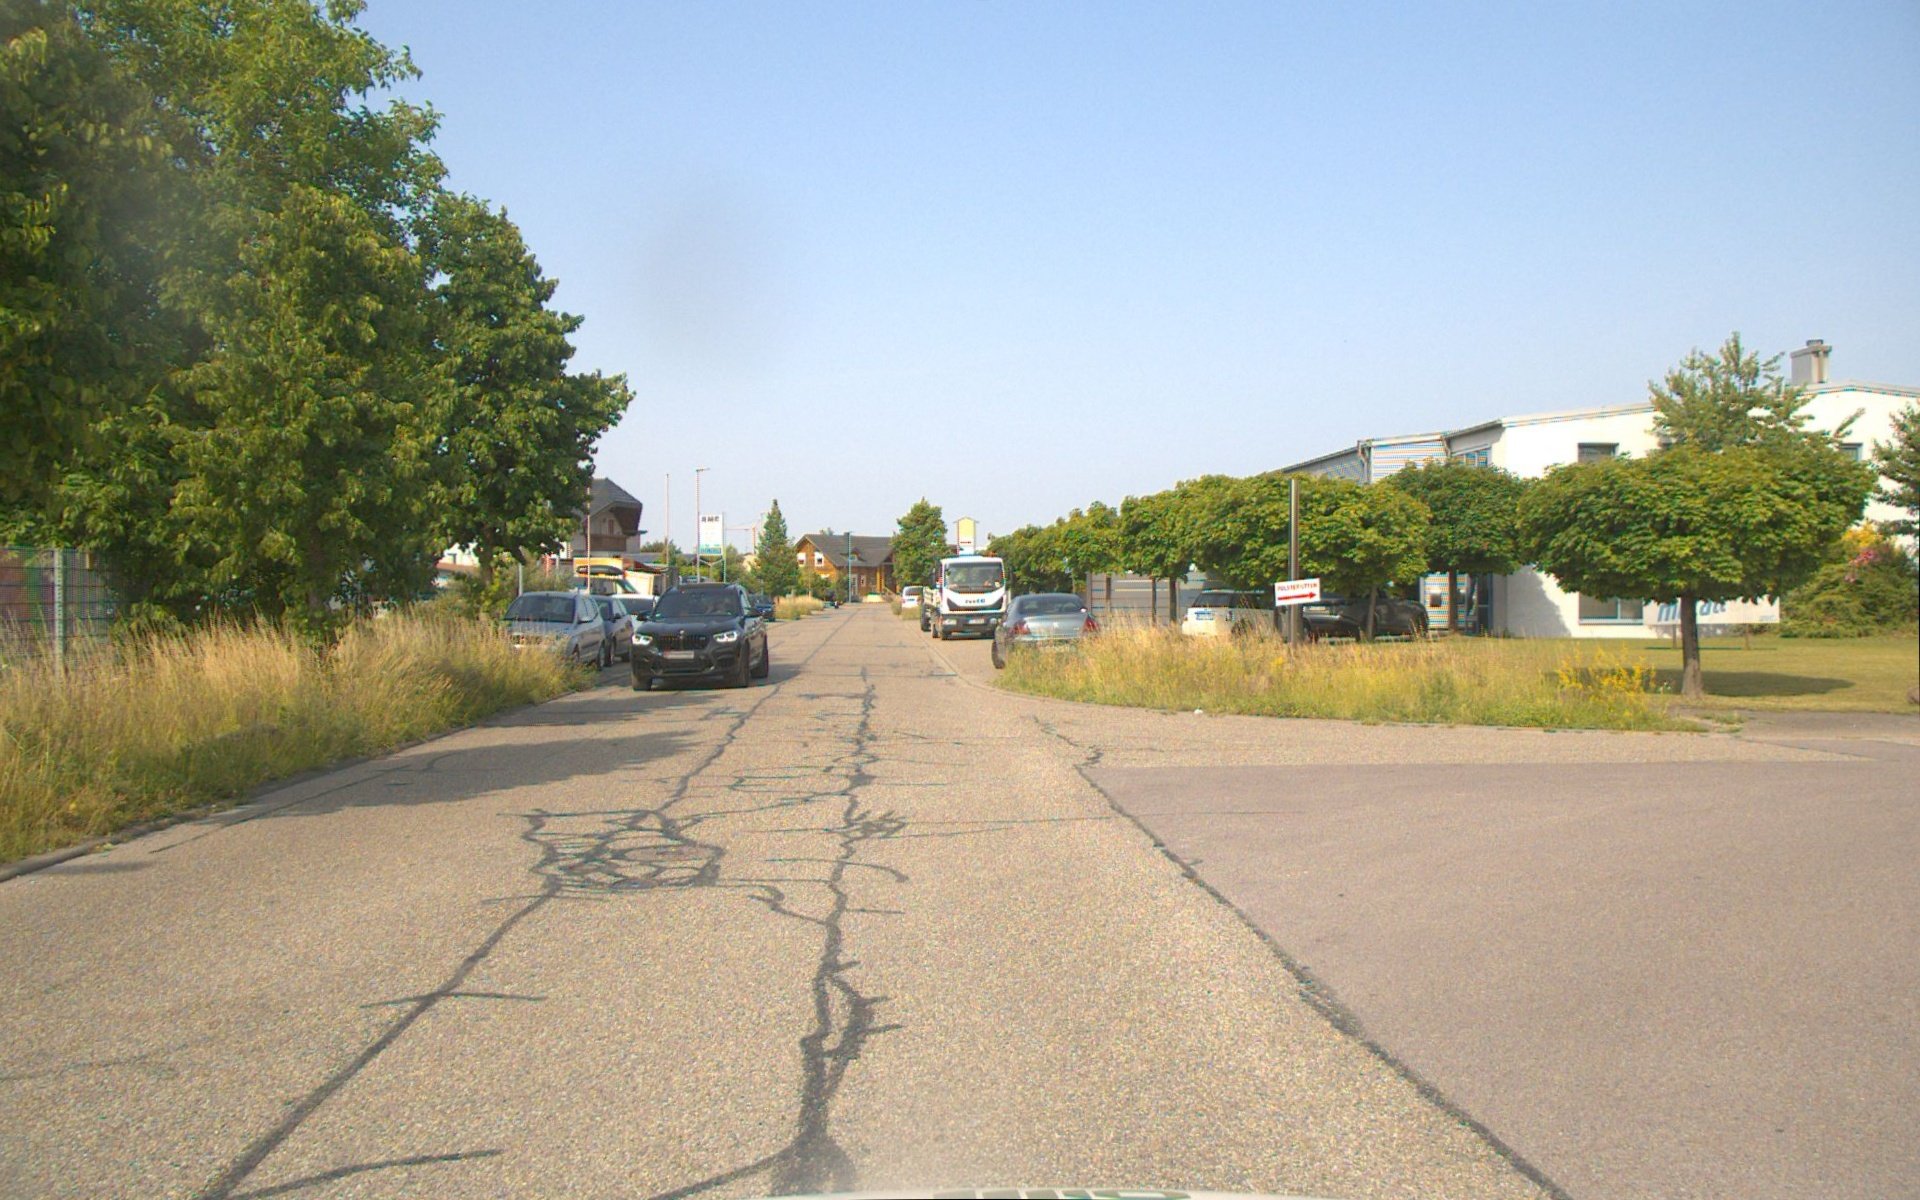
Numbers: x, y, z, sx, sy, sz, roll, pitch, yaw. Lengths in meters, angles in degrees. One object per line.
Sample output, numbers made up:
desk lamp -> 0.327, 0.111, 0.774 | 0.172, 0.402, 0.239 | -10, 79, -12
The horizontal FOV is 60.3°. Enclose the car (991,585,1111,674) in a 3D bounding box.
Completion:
car -> 1.624, 0.497, 31.001 | 1.758, 1.544, 4.421 | 0, 0, -3

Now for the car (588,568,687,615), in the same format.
car -> -18.965, -0.482, 97.430 | 5.048, 2.631, 2.578 | -1, 0, 18

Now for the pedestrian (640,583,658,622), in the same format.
pedestrian -> -13.825, 0.114, 73.467 | 0.558, 1.745, 0.526 | -1, 0, -41

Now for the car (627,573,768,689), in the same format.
car -> -4.351, 0.462, 27.993 | 1.819, 1.744, 4.224 | -2, 1, -2

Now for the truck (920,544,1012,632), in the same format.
truck -> 0.104, -0.395, 54.813 | 2.314, 2.728, 6.502 | 0, 0, -6

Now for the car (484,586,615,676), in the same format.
car -> -7.636, 0.539, 31.055 | 1.534, 1.565, 3.687 | 1, 0, 0

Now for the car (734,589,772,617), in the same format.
car -> -11.213, 0.154, 89.651 | 1.764, 1.411, 3.635 | 1, 0, -4

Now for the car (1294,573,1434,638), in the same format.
car -> 10.681, 0.122, 43.523 | 1.658, 1.616, 4.506 | 0, 0, 42

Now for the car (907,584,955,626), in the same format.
car -> -1.188, 0.178, 66.073 | 1.759, 1.588, 3.997 | 0, 0, -3

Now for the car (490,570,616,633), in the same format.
car -> -16.239, 0.048, 66.200 | 4.532, 2.459, 2.000 | 0, 0, -1

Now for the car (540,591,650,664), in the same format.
car -> -7.824, 0.551, 35.735 | 1.546, 1.469, 3.962 | 1, 0, -1

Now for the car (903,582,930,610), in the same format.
car -> -3.099, -0.292, 116.784 | 1.801, 1.957, 3.754 | -1, 0, -3

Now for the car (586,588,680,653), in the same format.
car -> -8.023, 0.473, 40.906 | 1.650, 1.495, 4.251 | 1, 0, -3

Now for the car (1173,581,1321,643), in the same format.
car -> 6.987, 0.259, 40.072 | 3.668, 1.404, 1.661 | -1, 1, -43
